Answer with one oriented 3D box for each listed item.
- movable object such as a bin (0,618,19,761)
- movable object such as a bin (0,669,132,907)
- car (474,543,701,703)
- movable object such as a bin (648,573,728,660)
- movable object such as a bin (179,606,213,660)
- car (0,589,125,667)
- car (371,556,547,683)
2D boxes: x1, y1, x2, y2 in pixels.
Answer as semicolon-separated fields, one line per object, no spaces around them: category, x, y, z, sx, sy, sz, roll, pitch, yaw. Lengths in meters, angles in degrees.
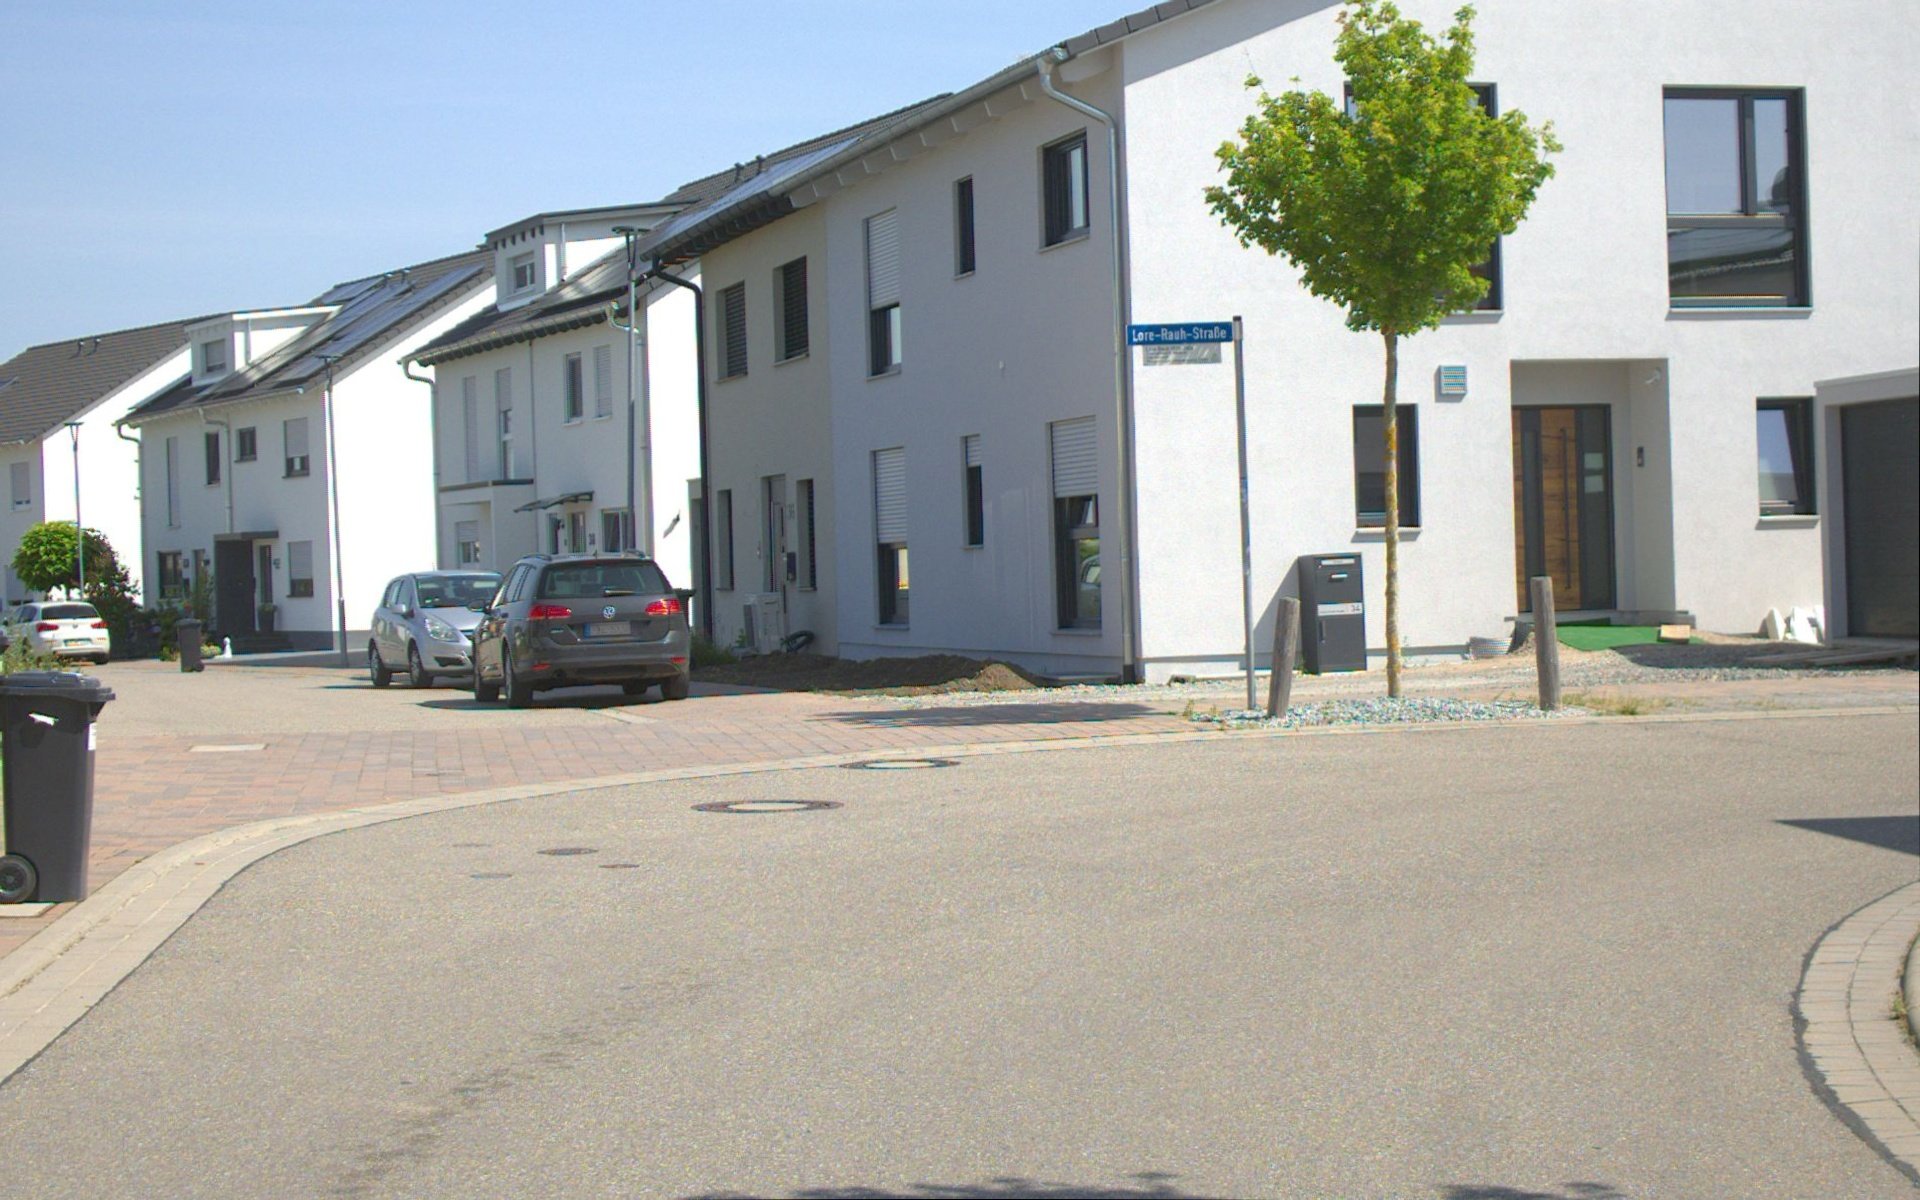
movable object such as a bin;-6.518;0.578;22.551;0.614;0.924;0.423;1;-1;-12
movable object such as a bin;-3.741;0.759;14.059;0.535;0.933;0.526;0;1;8
car;-3.735;0.199;33.945;1.726;1.418;4.001;-2;1;-13
movable object such as a bin;-3.451;0.202;43.533;0.784;1.046;0.804;-4;1;-17
movable object such as a bin;-13.899;0.597;62.559;0.557;0.945;0.247;-2;1;-19
car;-19.947;0.612;76.053;1.780;1.590;4.000;-3;1;-29
car;-6.384;0.224;43.499;1.676;1.459;3.945;-2;1;-15
